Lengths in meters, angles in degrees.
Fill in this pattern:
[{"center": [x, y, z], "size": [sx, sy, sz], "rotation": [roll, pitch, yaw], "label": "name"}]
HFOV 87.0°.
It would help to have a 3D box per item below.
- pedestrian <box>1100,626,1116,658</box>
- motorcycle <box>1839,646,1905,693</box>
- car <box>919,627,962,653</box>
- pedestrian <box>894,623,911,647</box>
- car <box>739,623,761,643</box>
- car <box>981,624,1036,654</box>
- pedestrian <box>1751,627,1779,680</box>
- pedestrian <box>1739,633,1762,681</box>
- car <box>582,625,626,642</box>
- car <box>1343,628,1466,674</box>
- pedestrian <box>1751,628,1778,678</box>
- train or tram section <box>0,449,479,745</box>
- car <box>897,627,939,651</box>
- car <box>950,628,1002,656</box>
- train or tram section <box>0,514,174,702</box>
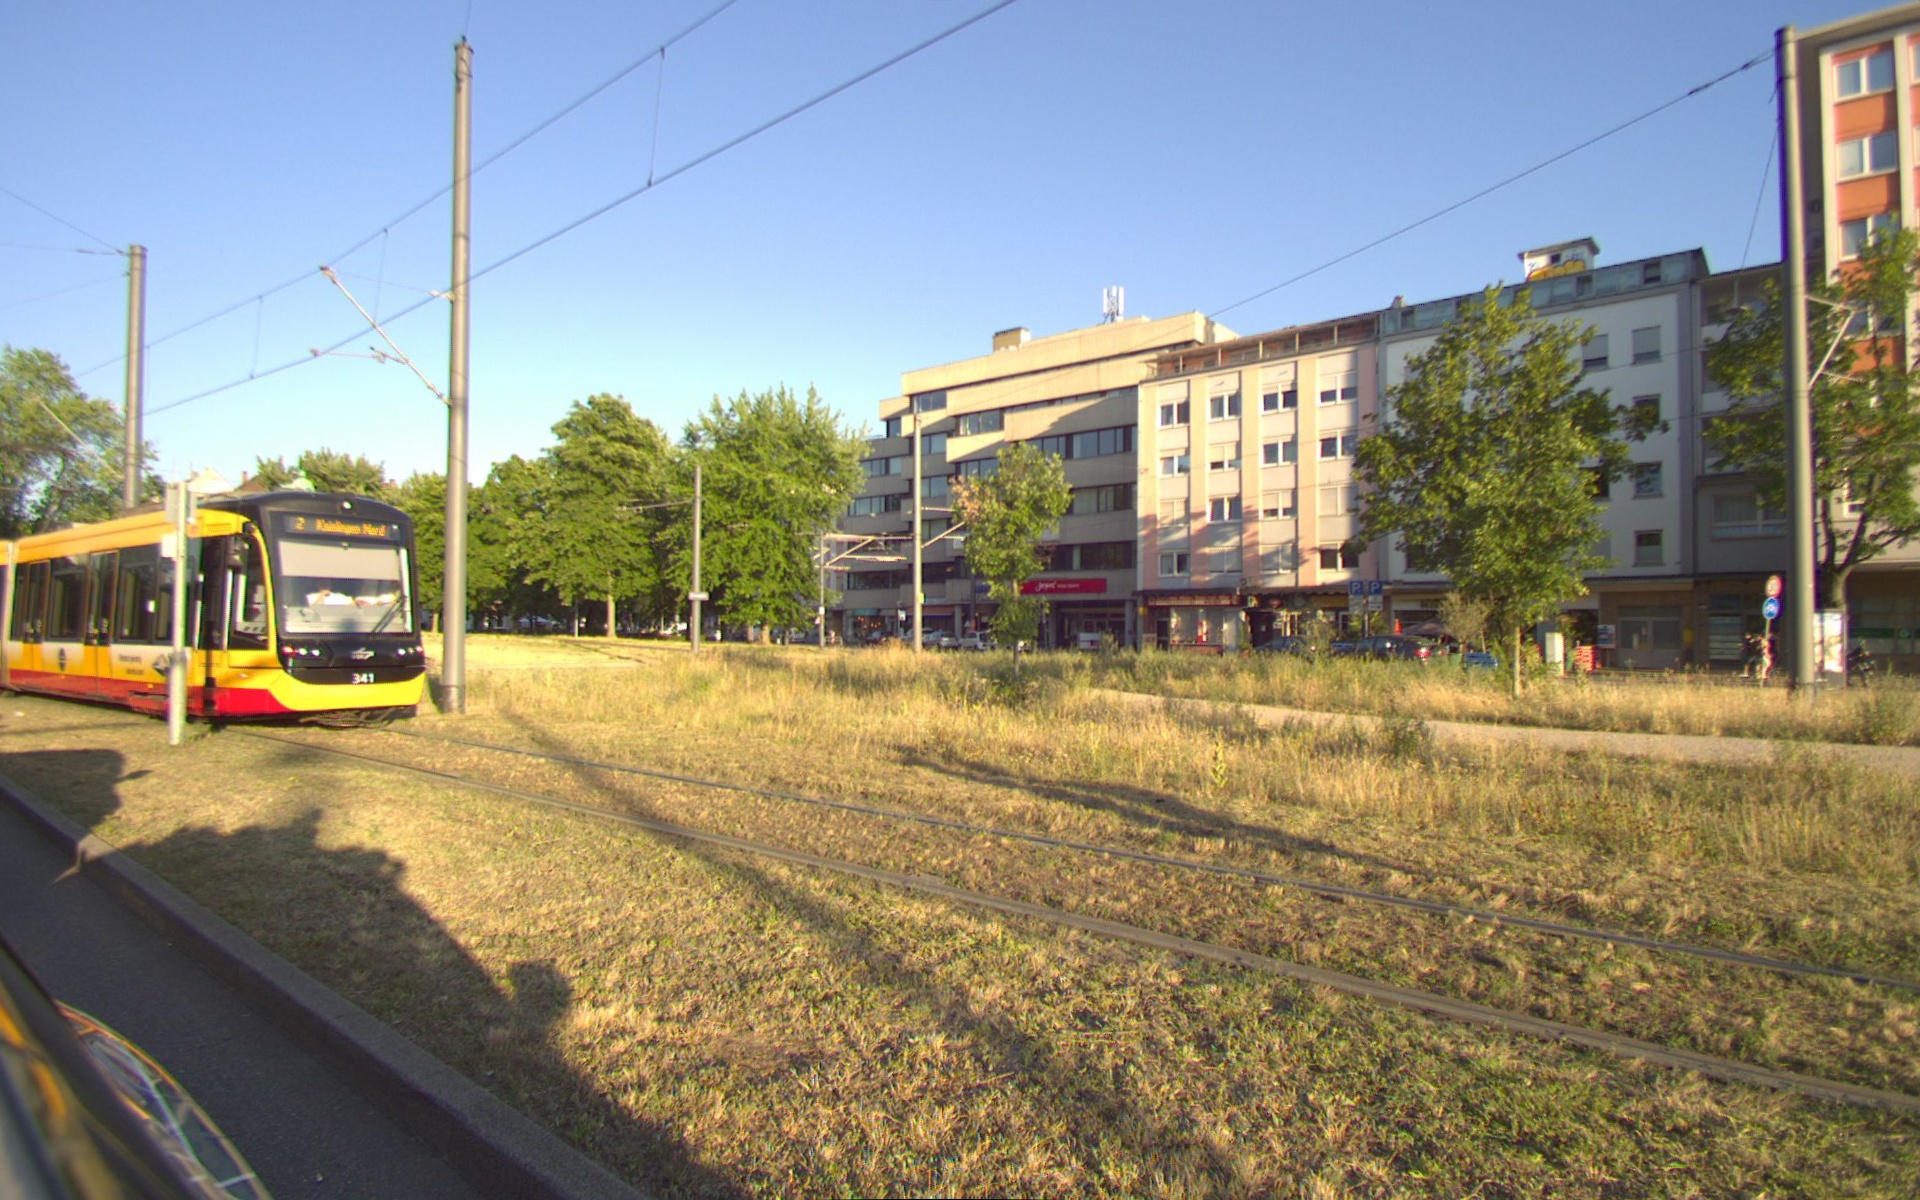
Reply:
[{"center": [9.037, 2.579, 61.841], "size": [0.700, 1.949, 0.683], "rotation": [-2, -2, 41], "label": "pedestrian"}, {"center": [26.539, 2.006, 29.468], "size": [1.390, 1.328, 0.376], "rotation": [-2, -2, 43], "label": "motorcycle"}, {"center": [-1.523, 3.006, 77.060], "size": [1.965, 1.893, 4.013], "rotation": [1, -2, -23], "label": "car"}, {"center": [-4.921, 3.023, 86.850], "size": [0.892, 2.051, 1.123], "rotation": [-2, -2, 43], "label": "pedestrian"}, {"center": [-23.515, 3.661, 113.100], "size": [1.966, 2.029, 4.012], "rotation": [-1, 0, -18], "label": "car"}, {"center": [3.203, 2.566, 66.995], "size": [1.892, 1.878, 4.013], "rotation": [1, -2, -27], "label": "car"}, {"center": [28.095, 1.853, 35.323], "size": [0.704, 1.806, 0.587], "rotation": [-2, -2, 41], "label": "pedestrian"}, {"center": [29.324, 2.106, 37.543], "size": [0.630, 1.782, 0.589], "rotation": [-1, -2, 41], "label": "pedestrian"}, {"center": [-37.341, 3.475, 106.186], "size": [3.933, 1.769, 1.973], "rotation": [1, -2, -33], "label": "car"}, {"center": [17.271, 1.951, 39.518], "size": [1.965, 1.697, 4.012], "rotation": [1, -2, -28], "label": "car"}, {"center": [28.490, 1.867, 35.840], "size": [0.698, 1.764, 0.642], "rotation": [-2, -2, 41], "label": "pedestrian"}, {"center": [-13.472, 0.097, 17.883], "size": [13.188, 3.767, 2.883], "rotation": [-1, -2, 35], "label": "train or tram section"}, {"center": [-3.448, 3.126, 81.967], "size": [1.965, 1.951, 4.013], "rotation": [1, -2, -25], "label": "car"}, {"center": [1.095, 2.937, 71.542], "size": [1.965, 1.893, 4.013], "rotation": [1, -2, -27], "label": "car"}, {"center": [-23.786, 0.279, 24.359], "size": [12.123, 3.767, 2.860], "rotation": [-1, -2, 28], "label": "train or tram section"}]
